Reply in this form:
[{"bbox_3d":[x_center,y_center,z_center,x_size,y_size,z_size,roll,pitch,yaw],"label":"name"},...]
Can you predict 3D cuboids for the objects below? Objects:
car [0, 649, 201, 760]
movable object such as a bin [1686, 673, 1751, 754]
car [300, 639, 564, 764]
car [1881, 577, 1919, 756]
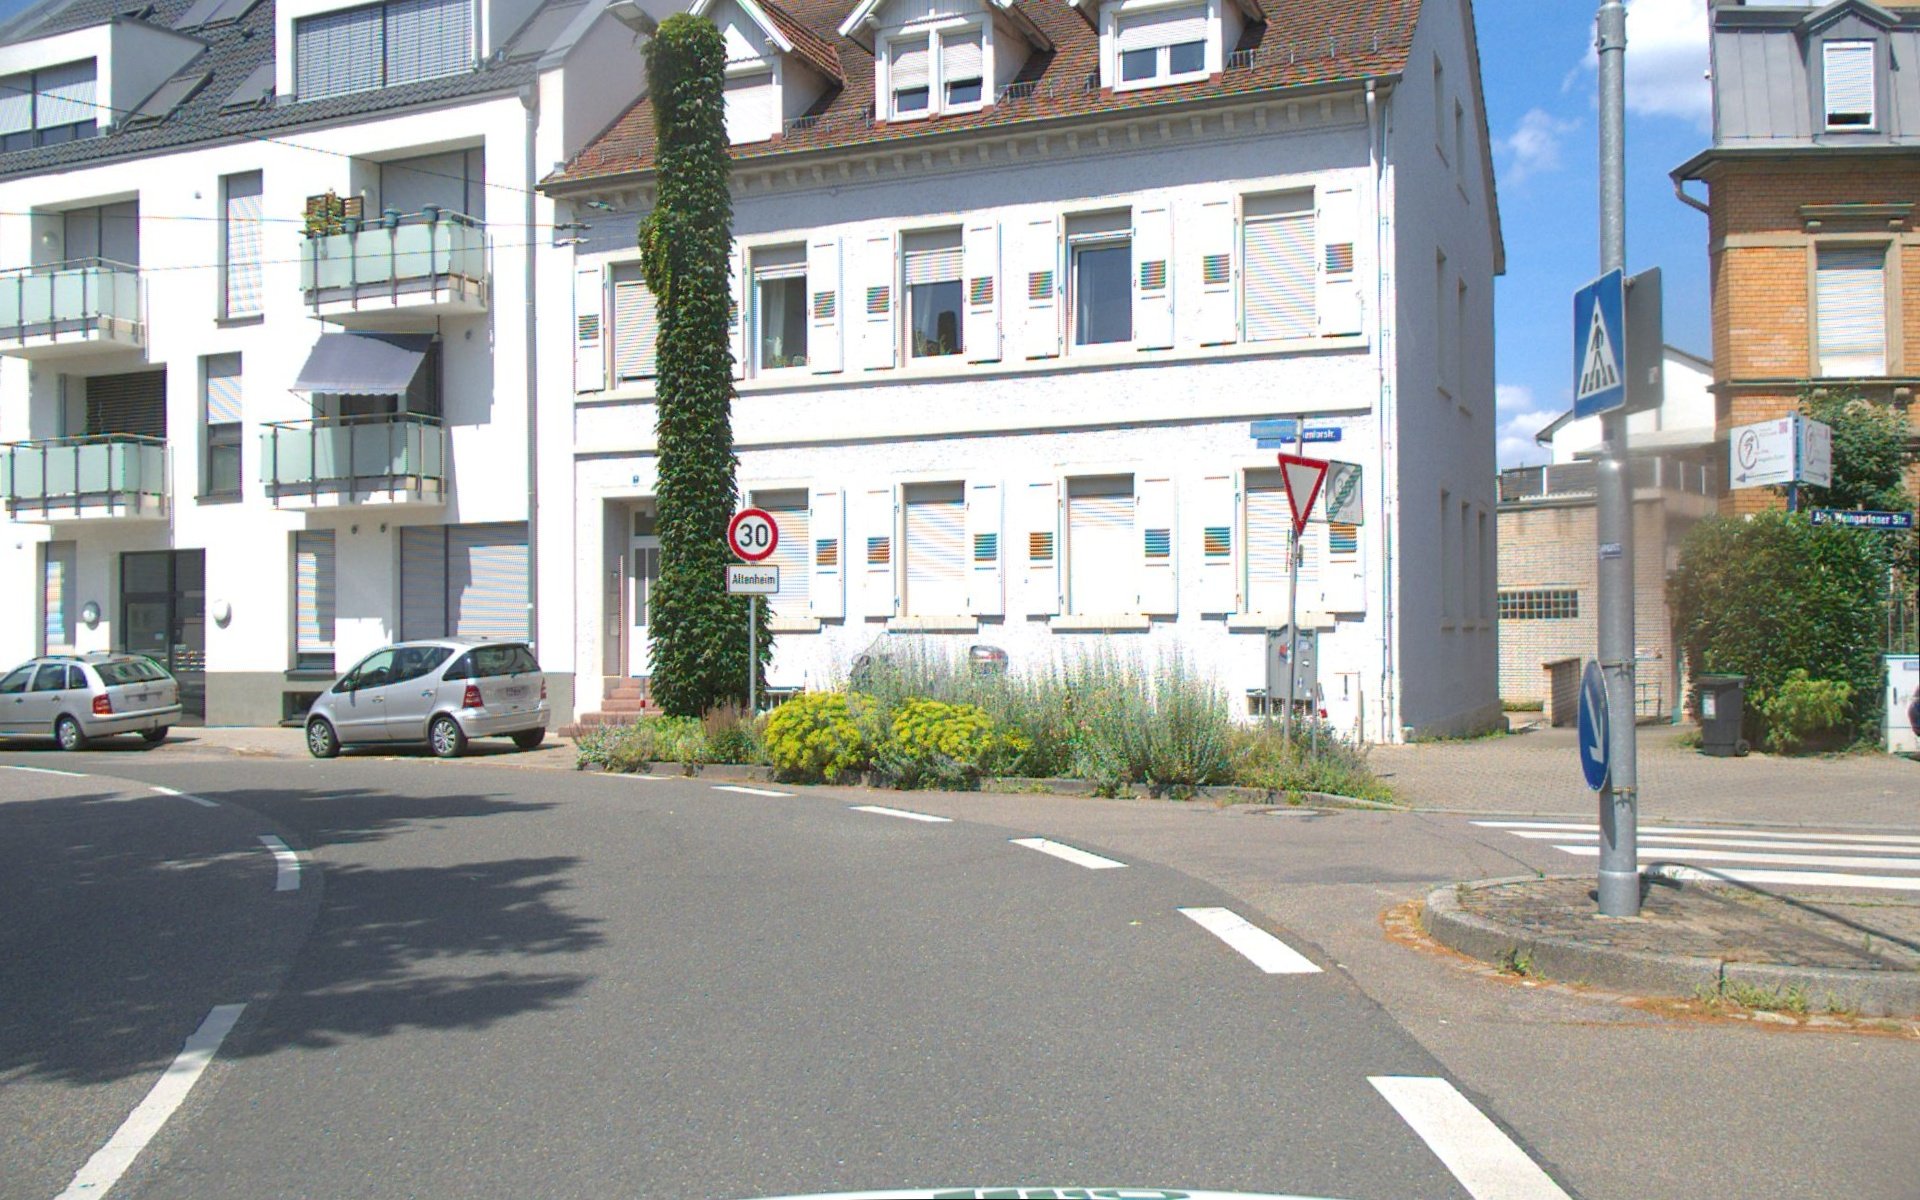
[{"bbox_3d":[-14.193,1.618,26.499,3.820,1.491,1.660,0,3,27],"label":"car"},{"bbox_3d":[8.888,1.329,19.389,0.413,0.932,0.555,3,-3,-25],"label":"movable object such as a bin"},{"bbox_3d":[-7.479,1.398,23.386,3.539,1.614,1.581,0,-3,31],"label":"car"},{"bbox_3d":[13.118,0.688,17.851,5.113,1.981,2.085,-1,0,9],"label":"car"}]
